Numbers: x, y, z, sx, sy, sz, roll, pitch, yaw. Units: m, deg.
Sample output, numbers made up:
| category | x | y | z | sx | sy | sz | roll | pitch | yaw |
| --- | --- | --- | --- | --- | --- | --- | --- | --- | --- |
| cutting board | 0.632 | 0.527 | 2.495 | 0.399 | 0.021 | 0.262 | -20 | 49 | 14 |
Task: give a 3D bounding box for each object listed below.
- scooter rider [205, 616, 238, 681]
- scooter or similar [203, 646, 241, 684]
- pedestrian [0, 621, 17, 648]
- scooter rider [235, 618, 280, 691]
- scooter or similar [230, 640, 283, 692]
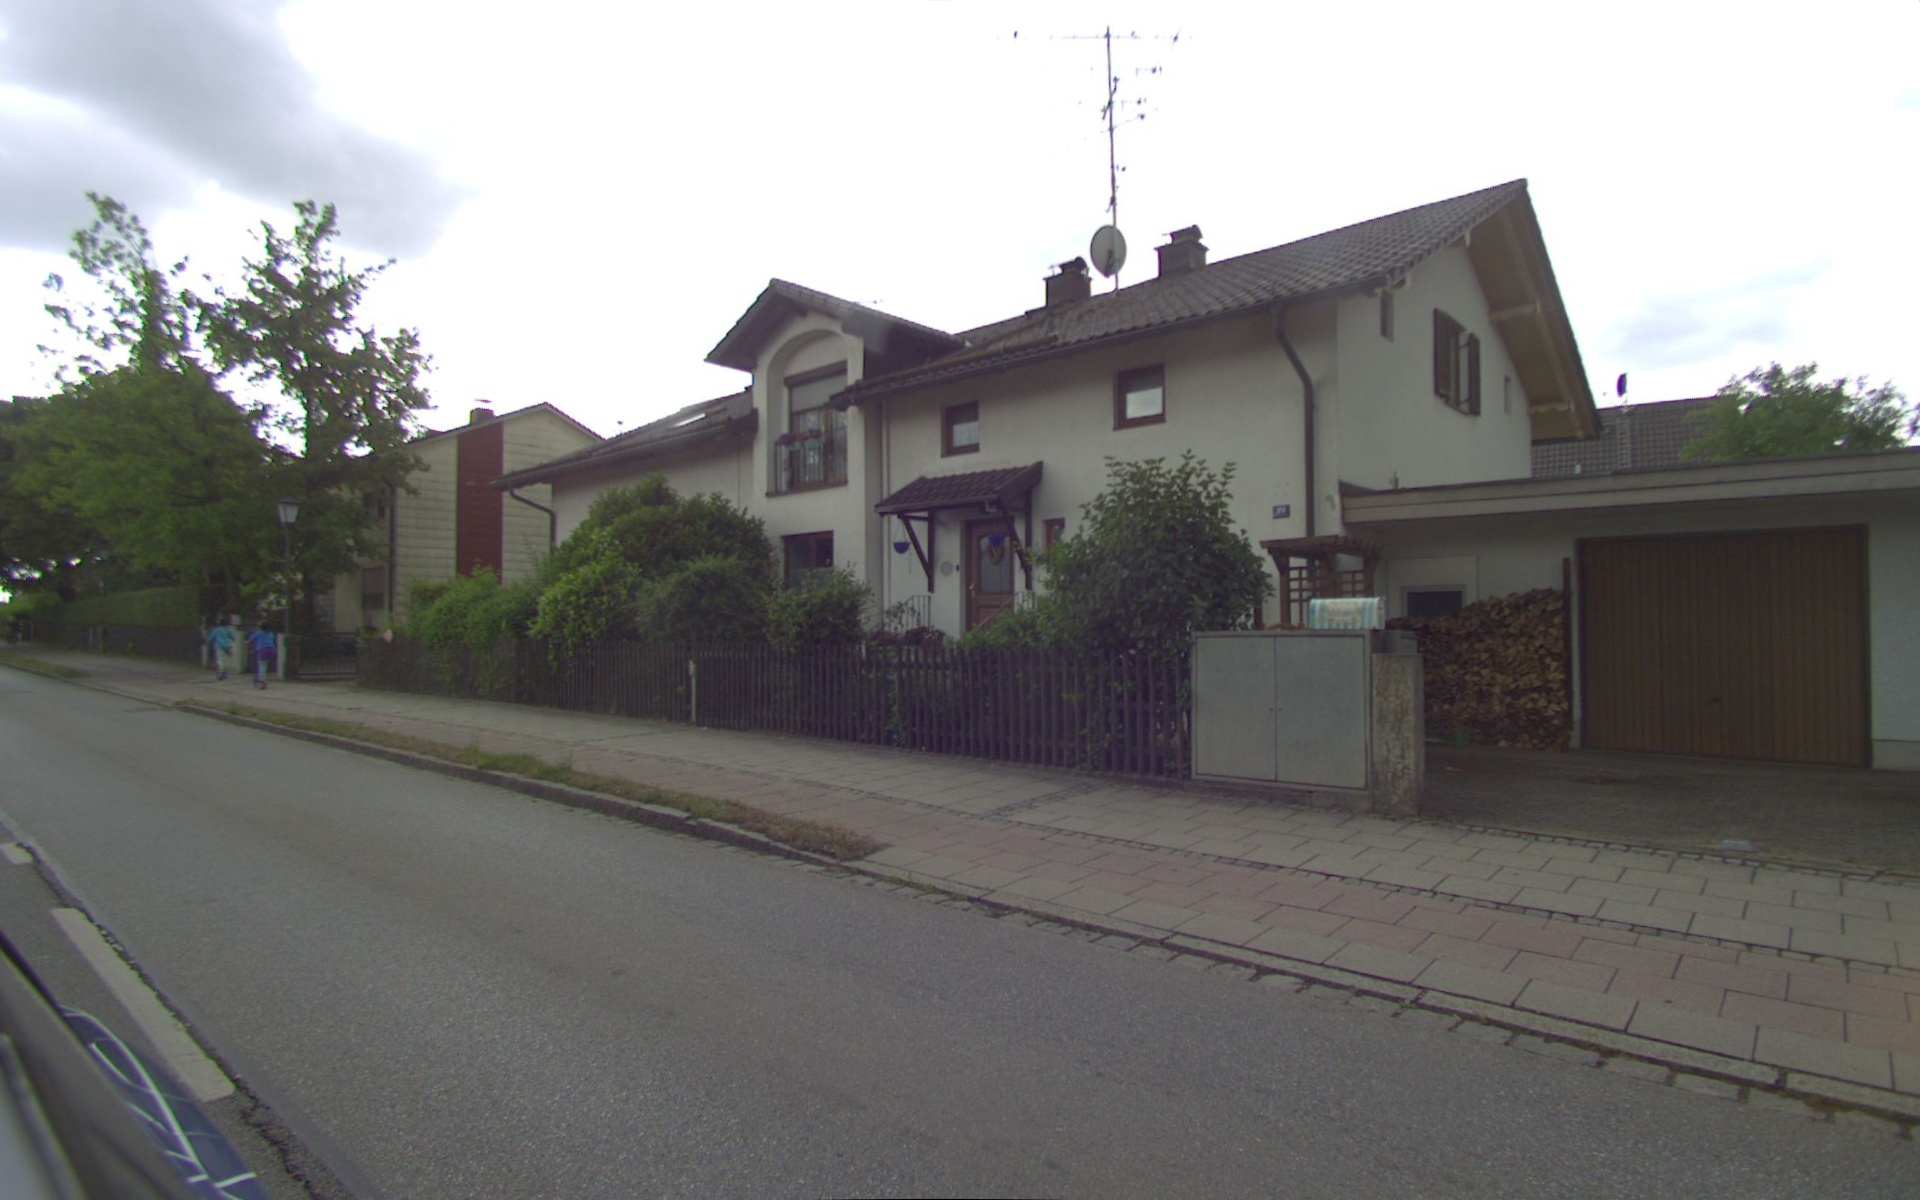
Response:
| category | x | y | z | sx | sy | sz | roll | pitch | yaw |
| --- | --- | --- | --- | --- | --- | --- | --- | --- | --- |
| scooter rider | -17.431 | 1.140 | 23.895 | 0.716 | 1.501 | 0.497 | -2 | -1 | 42 |
| scooter or similar | -17.431 | 1.525 | 23.897 | 1.061 | 0.856 | 0.516 | -1 | -1 | 42 |
| pedestrian | -51.611 | 1.865 | 54.912 | 0.563 | 1.448 | 0.623 | -1 | -1 | 40 |
| scooter rider | -14.604 | 1.124 | 21.045 | 0.580 | 1.484 | 0.655 | -2 | -2 | 41 |
| scooter or similar | -14.704 | 1.358 | 21.137 | 1.178 | 1.045 | 0.654 | -1 | -2 | 42 |
